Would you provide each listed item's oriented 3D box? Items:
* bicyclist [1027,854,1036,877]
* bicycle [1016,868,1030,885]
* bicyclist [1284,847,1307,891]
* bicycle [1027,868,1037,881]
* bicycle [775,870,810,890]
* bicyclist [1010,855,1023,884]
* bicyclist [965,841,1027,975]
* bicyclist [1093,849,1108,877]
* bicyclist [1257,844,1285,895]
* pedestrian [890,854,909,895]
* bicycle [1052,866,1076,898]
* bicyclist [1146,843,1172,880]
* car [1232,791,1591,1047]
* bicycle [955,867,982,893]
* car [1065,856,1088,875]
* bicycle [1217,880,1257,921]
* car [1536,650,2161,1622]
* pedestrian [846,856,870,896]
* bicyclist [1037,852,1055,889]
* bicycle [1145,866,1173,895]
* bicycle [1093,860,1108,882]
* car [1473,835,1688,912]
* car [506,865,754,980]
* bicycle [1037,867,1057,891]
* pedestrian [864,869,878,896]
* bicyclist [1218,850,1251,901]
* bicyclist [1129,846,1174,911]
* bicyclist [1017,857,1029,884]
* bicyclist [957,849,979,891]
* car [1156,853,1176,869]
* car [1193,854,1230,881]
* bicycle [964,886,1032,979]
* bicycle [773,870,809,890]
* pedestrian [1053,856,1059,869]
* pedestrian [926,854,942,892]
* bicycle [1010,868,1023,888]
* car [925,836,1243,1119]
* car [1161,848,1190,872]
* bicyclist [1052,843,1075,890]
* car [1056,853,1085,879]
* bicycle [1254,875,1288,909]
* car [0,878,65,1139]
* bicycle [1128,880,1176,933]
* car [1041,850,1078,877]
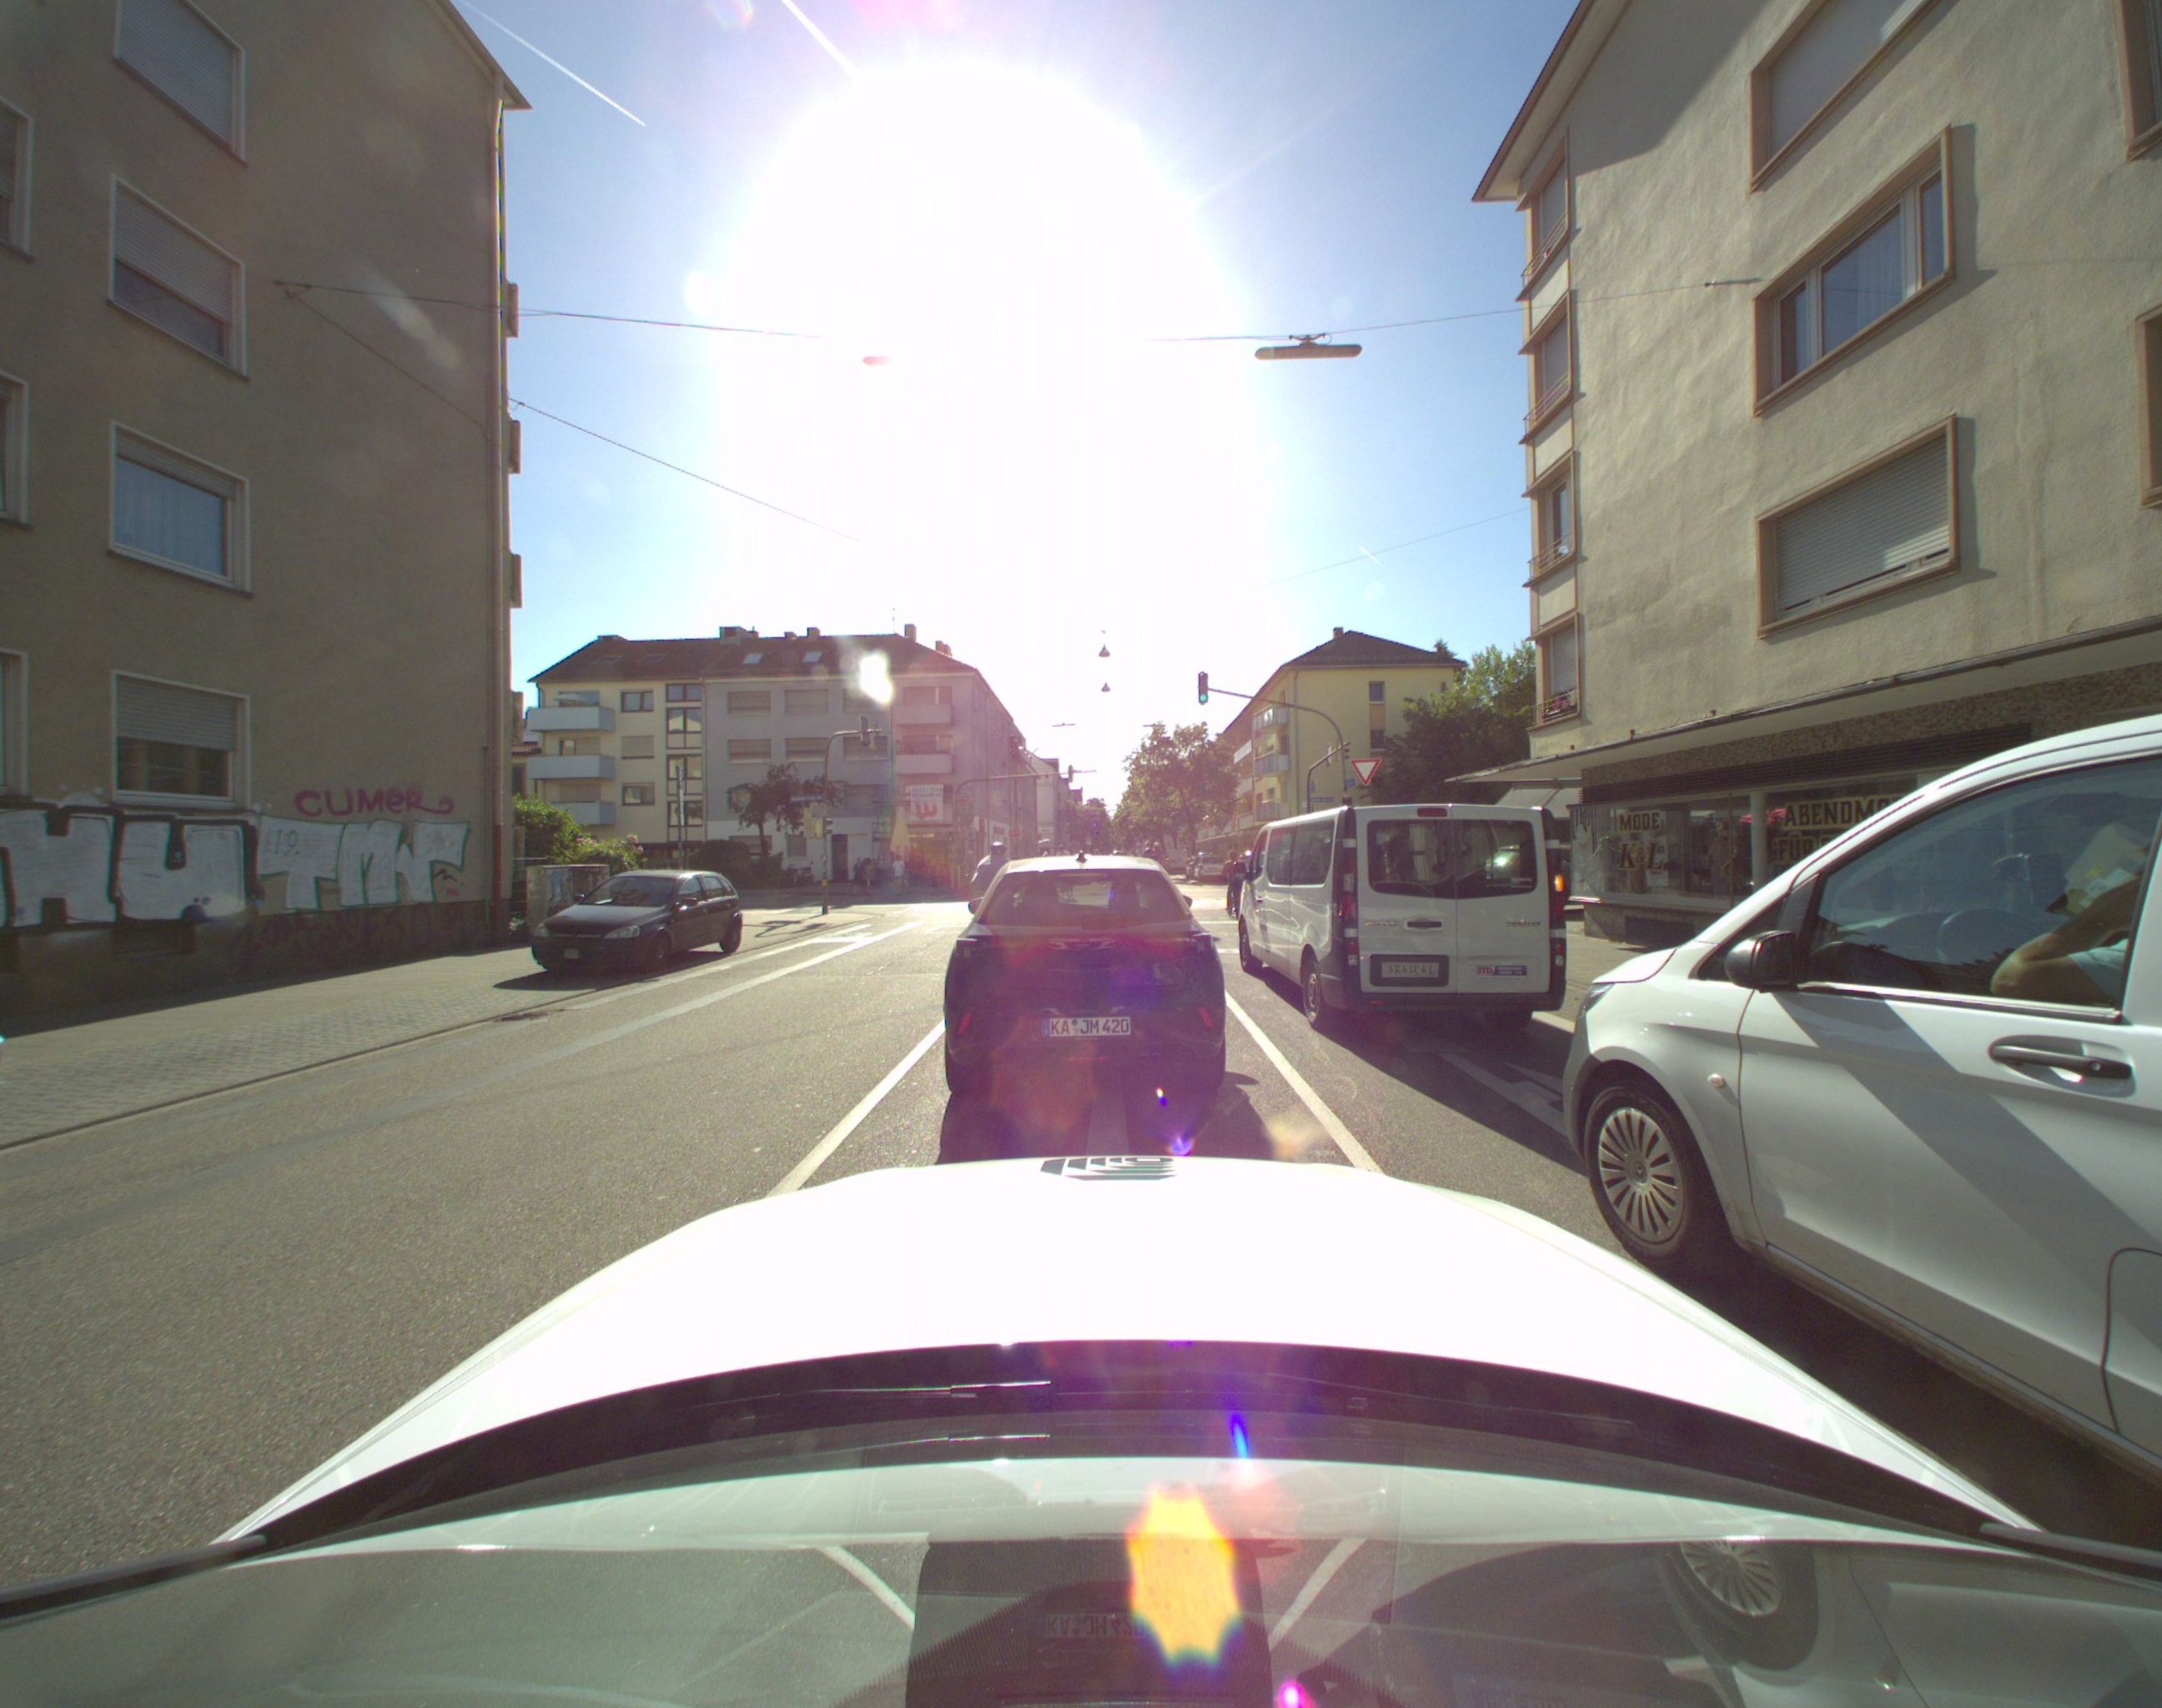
[{"bbox_3d":[-3.382,0.784,55.804,0.551,1.549,0.814,0,0,0],"label":"bicyclist"},{"bbox_3d":[-3.241,1.243,45.446,0.540,0.902,1.827,-1,0,2],"label":"bicycle"},{"bbox_3d":[6.954,0.472,26.479,0.544,1.382,0.823,-1,0,3],"label":"bicyclist"},{"bbox_3d":[-3.376,1.382,55.746,0.551,0.833,2.131,0,0,0],"label":"bicycle"},{"bbox_3d":[-14.641,1.318,41.339,1.582,0.940,0.513,-1,0,3],"label":"bicycle"},{"bbox_3d":[-3.127,0.761,39.479,0.541,1.391,0.787,-1,0,-3],"label":"bicyclist"},{"bbox_3d":[-1.107,0.678,10.798,0.630,1.669,1.051,-2,0,2],"label":"bicyclist"},{"bbox_3d":[1.184,0.552,48.800,0.798,1.649,1.126,-1,0,3],"label":"bicyclist"},{"bbox_3d":[5.352,0.432,22.968,0.586,1.382,0.823,-1,0,3],"label":"bicyclist"},{"bbox_3d":[-7.545,0.852,33.876,0.570,1.689,0.671,-1,0,8],"label":"pedestrian"},{"bbox_3d":[-0.580,0.970,28.830,0.714,1.064,1.873,-2,-1,2],"label":"bicycle"},{"bbox_3d":[2.808,0.261,29.348,0.853,1.314,1.211,1,0,2],"label":"bicyclist"},{"bbox_3d":[2.989,0.509,8.755,1.961,1.940,5.057,0,0,2],"label":"car"},{"bbox_3d":[-4.472,1.036,32.530,0.677,0.952,1.934,-3,0,2],"label":"bicycle"},{"bbox_3d":[-0.374,0.939,67.294,1.799,1.413,4.425,-3,0,0],"label":"car"},{"bbox_3d":[3.752,1.100,19.658,0.688,0.866,1.878,-1,0,3],"label":"bicycle"},{"bbox_3d":[2.980,0.510,1.185,1.961,1.810,4.833,-1,0,1],"label":"car"},{"bbox_3d":[-9.507,0.916,34.793,0.569,1.683,0.972,-1,0,12],"label":"pedestrian"},{"bbox_3d":[-1.515,0.716,35.380,0.677,1.576,0.899,-3,0,2],"label":"bicyclist"},{"bbox_3d":[2.802,0.938,29.431,0.853,0.945,2.308,1,0,2],"label":"bicycle"},{"bbox_3d":[1.196,0.996,48.813,0.798,1.255,2.140,-1,0,3],"label":"bicycle"},{"bbox_3d":[11.698,0.438,19.285,3.972,1.662,1.826,-1,0,2],"label":"car"},{"bbox_3d":[-6.802,0.941,12.819,1.685,1.448,3.856,1,0,0],"label":"car"},{"bbox_3d":[-1.490,1.081,35.465,0.677,0.952,1.934,-3,0,2],"label":"bicycle"},{"bbox_3d":[-8.920,1.211,34.602,0.384,1.146,0.532,-1,0,5],"label":"pedestrian"},{"bbox_3d":[3.715,0.510,19.754,0.689,1.193,0.595,-1,0,3],"label":"bicyclist"},{"bbox_3d":[1.462,0.497,17.128,0.853,1.314,1.211,1,0,2],"label":"bicyclist"},{"bbox_3d":[-3.248,0.907,45.469,0.540,1.520,0.774,-1,0,2],"label":"bicyclist"},{"bbox_3d":[-4.502,0.614,32.506,0.677,1.630,0.899,-3,0,2],"label":"bicyclist"},{"bbox_3d":[8.131,0.669,77.996,1.706,1.483,3.383,-1,0,2],"label":"car"},{"bbox_3d":[7.494,0.752,46.987,1.706,1.483,3.482,-1,0,2],"label":"car"},{"bbox_3d":[-1.064,0.991,10.824,0.630,1.041,1.796,-2,0,2],"label":"bicycle"},{"bbox_3d":[-14.497,1.283,40.708,1.582,0.940,0.513,-1,0,3],"label":"bicycle"},{"bbox_3d":[-2.952,1.010,96.072,0.575,1.583,0.707,-1,0,-3],"label":"pedestrian"},{"bbox_3d":[-6.128,0.786,33.903,0.529,1.581,0.563,-1,0,1],"label":"pedestrian"},{"bbox_3d":[-3.114,1.145,39.399,0.541,0.902,1.825,-1,0,-2],"label":"bicycle"},{"bbox_3d":[0.080,0.706,6.566,1.756,1.558,4.001,-1,0,2],"label":"car"},{"bbox_3d":[7.604,0.486,65.622,2.037,1.846,4.588,-1,0,3],"label":"car"},{"bbox_3d":[-0.598,0.439,28.851,0.714,1.620,0.946,-2,-1,2],"label":"bicyclist"},{"bbox_3d":[-0.660,0.795,53.769,1.586,1.566,4.091,-2,-1,2],"label":"car"},{"bbox_3d":[5.378,1.058,23.143,0.617,0.866,1.878,-1,0,3],"label":"bicycle"},{"bbox_3d":[-7.201,0.888,2.601,1.817,1.503,4.802,1,0,1],"label":"car"},{"bbox_3d":[1.451,1.052,17.053,0.853,0.945,2.308,1,0,2],"label":"bicycle"},{"bbox_3d":[-1.187,0.531,46.292,1.830,1.433,4.178,-1,0,2],"label":"car"}]
